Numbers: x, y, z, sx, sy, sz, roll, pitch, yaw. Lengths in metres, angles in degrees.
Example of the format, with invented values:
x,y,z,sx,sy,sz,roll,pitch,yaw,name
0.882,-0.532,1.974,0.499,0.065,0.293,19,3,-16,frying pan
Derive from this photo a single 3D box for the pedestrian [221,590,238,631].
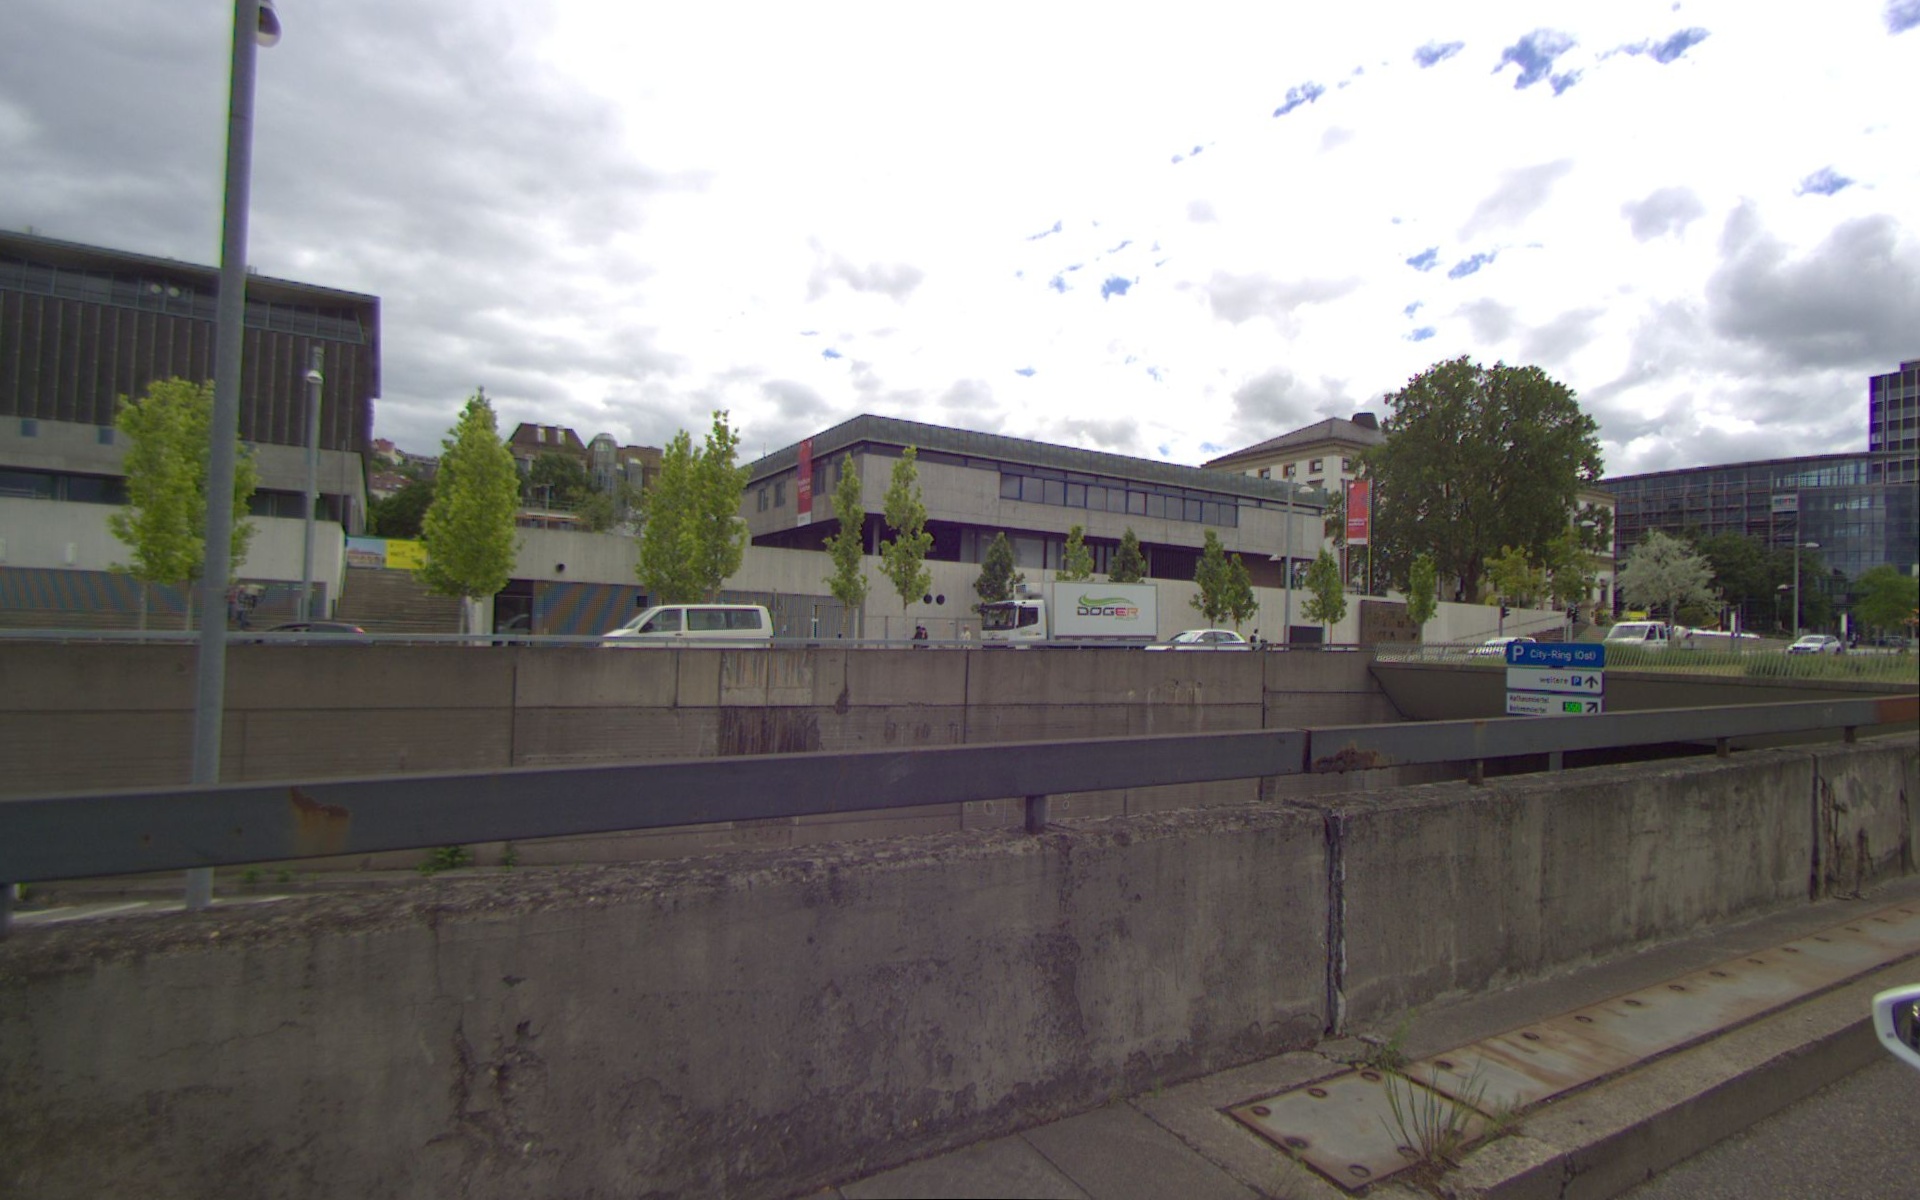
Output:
x,y,z,sx,sy,sz,roll,pitch,yaw,name
-27.430,0.401,37.720,0.457,1.542,0.377,2,0,-36,pedestrian

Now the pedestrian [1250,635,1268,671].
x,y,z,sx,sy,sz,roll,pitch,yaw,name
14.775,2.614,49.583,0.656,1.757,0.537,1,0,-30,pedestrian

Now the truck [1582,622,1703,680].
x,y,z,sx,sy,sz,roll,pitch,yaw,name
36.151,2.609,53.164,6.991,2.854,2.453,1,0,-29,truck

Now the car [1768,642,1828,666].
x,y,z,sx,sy,sz,roll,pitch,yaw,name
58.796,3.768,70.441,4.556,1.595,1.711,1,0,-29,car

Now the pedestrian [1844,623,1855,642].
x,y,z,sx,sy,sz,roll,pitch,yaw,name
81.550,2.986,92.081,0.643,1.671,0.521,2,0,-31,pedestrian

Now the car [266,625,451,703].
x,y,z,sx,sy,sz,roll,pitch,yaw,name
-15.469,1.578,26.029,3.953,1.840,1.984,1,0,-30,car

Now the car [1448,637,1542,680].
x,y,z,sx,sy,sz,roll,pitch,yaw,name
25.023,2.703,46.983,4.208,1.840,1.984,1,0,-30,car

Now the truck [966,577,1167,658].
x,y,z,sx,sy,sz,roll,pitch,yaw,name
4.101,0.649,38.211,7.169,2.825,3.215,1,0,-31,truck

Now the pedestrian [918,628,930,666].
x,y,z,sx,sy,sz,roll,pitch,yaw,name
-1.483,1.924,40.917,0.314,1.542,0.346,2,0,-36,pedestrian

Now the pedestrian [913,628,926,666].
x,y,z,sx,sy,sz,roll,pitch,yaw,name
-1.678,1.939,41.259,0.314,1.542,0.410,2,0,-36,pedestrian

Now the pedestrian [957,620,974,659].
x,y,z,sx,sy,sz,roll,pitch,yaw,name
0.223,1.578,40.572,0.457,1.542,0.424,2,0,-36,pedestrian

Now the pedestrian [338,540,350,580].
x,y,z,sx,sy,sz,roll,pitch,yaw,name
-29.711,-1.915,48.451,0.457,1.891,0.377,2,0,-36,pedestrian

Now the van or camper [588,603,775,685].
x,y,z,sx,sy,sz,roll,pitch,yaw,name
-7.476,1.125,27.065,4.503,2.040,1.984,1,0,-30,van or camper

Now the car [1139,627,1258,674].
x,y,z,sx,sy,sz,roll,pitch,yaw,name
8.742,1.797,36.800,4.218,1.595,1.711,1,0,-29,car

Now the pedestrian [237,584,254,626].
x,y,z,sx,sy,sz,roll,pitch,yaw,name
-26.583,0.192,37.369,0.457,1.542,0.377,2,0,-36,pedestrian
